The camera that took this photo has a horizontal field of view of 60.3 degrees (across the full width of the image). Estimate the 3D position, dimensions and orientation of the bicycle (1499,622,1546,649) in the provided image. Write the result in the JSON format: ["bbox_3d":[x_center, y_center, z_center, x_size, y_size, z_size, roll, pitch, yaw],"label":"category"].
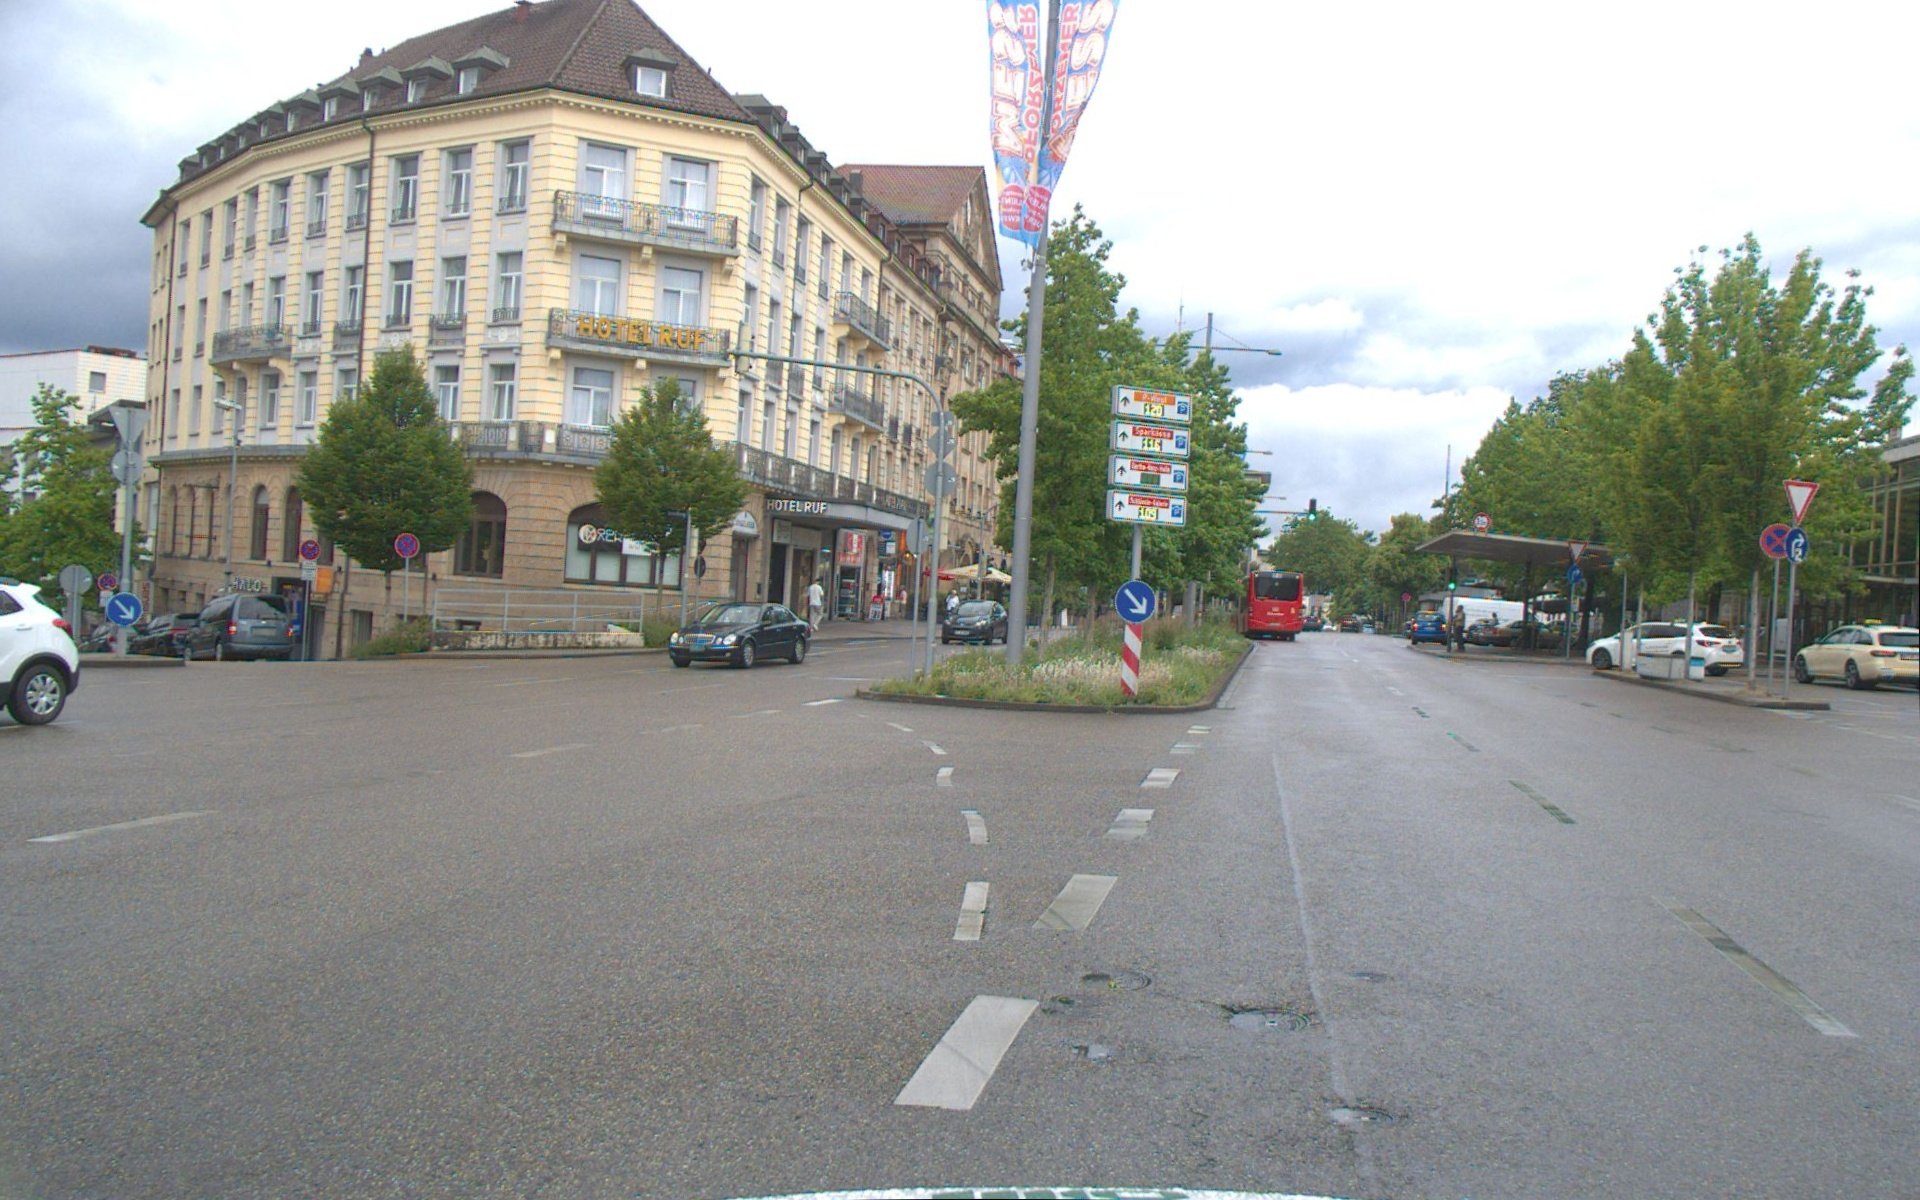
[{"bbox_3d":[23.052,1.450,67.760,1.792,1.074,0.420,1,-1,-7],"label":"bicycle"}]

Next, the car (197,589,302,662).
[{"bbox_3d":[-18.927,0.645,43.976,1.618,1.790,3.946,1,0,-38],"label":"car"}]

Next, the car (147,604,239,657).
[{"bbox_3d":[-22.775,0.883,49.065,1.618,1.422,3.946,1,0,-38],"label":"car"}]

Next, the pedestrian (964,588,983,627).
[{"bbox_3d":[0.601,0.341,71.921,0.667,1.693,0.807,1,-1,12],"label":"pedestrian"}]

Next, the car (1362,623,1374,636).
[{"bbox_3d":[58.079,4.202,235.454,1.609,1.690,3.653,1,-1,12],"label":"car"}]

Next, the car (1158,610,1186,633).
[{"bbox_3d":[19.321,1.960,150.546,1.951,2.049,5.005,1,-1,13],"label":"car"}]

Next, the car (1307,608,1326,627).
[{"bbox_3d":[39.542,1.983,183.535,1.951,2.049,4.003,1,-1,12],"label":"car"}]

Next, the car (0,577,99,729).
[{"bbox_3d":[-11.541,0.553,17.446,1.914,1.646,4.210,1,-1,18],"label":"car"}]

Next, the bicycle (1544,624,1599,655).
[{"bbox_3d":[21.760,1.393,58.871,1.788,1.074,0.421,1,-1,11],"label":"bicycle"}]

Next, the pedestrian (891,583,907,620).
[{"bbox_3d":[-2.794,0.063,75.895,0.652,1.693,0.537,1,-1,3],"label":"pedestrian"}]

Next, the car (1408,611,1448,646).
[{"bbox_3d":[23.038,1.421,81.525,1.819,1.596,4.002,2,-1,15],"label":"car"}]

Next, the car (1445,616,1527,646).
[{"bbox_3d":[29.171,1.718,91.786,3.920,1.468,1.857,2,-1,-15],"label":"car"}]

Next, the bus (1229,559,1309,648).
[{"bbox_3d":[15.067,0.239,81.429,3.469,4.049,11.180,1,-1,9],"label":"bus"}]

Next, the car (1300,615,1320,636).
[{"bbox_3d":[35.613,2.625,168.524,1.951,2.049,4.003,1,-1,12],"label":"car"}]

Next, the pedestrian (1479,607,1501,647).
[{"bbox_3d":[25.318,1.297,79.039,0.838,1.867,1.191,1,-1,11],"label":"pedestrian"}]

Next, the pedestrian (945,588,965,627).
[{"bbox_3d":[-0.232,0.330,72.081,0.667,1.693,0.807,1,-1,15],"label":"pedestrian"}]

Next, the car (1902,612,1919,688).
[{"bbox_3d":[21.254,1.114,33.729,1.951,1.627,4.962,2,0,10],"label":"car"}]

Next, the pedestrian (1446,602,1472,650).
[{"bbox_3d":[19.152,0.995,63.467,0.730,1.777,0.836,2,-1,3],"label":"pedestrian"}]

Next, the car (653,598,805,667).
[{"bbox_3d":[-5.164,0.726,37.553,1.914,1.447,4.002,1,-1,16],"label":"car"}]

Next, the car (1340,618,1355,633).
[{"bbox_3d":[42.841,2.855,182.988,1.561,1.588,3.653,1,-1,12],"label":"car"}]

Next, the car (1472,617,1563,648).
[{"bbox_3d":[27.348,1.582,81.181,3.926,1.383,1.855,2,-1,-19],"label":"car"}]

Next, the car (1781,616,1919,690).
[{"bbox_3d":[21.971,1.242,40.081,1.952,1.627,4.960,1,0,4],"label":"car"}]

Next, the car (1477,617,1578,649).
[{"bbox_3d":[26.599,1.537,77.589,4.107,1.348,1.837,2,-1,-8],"label":"car"}]

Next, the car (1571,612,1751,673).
[{"bbox_3d":[19.943,1.194,47.258,1.737,1.573,4.734,2,-1,-27],"label":"car"}]

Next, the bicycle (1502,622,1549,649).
[{"bbox_3d":[23.002,1.448,67.290,1.792,1.074,0.420,1,-1,-7],"label":"bicycle"}]

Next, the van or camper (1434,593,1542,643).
[{"bbox_3d":[31.139,1.071,97.573,5.848,2.811,2.189,1,-1,-16],"label":"van or camper"}]

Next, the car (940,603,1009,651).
[{"bbox_3d":[0.524,0.909,56.031,1.641,1.539,3.866,1,-1,11],"label":"car"}]

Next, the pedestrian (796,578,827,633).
[{"bbox_3d":[-5.129,0.193,57.078,0.860,1.844,0.751,1,-1,11],"label":"pedestrian"}]

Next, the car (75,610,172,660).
[{"bbox_3d":[-26.659,1.106,52.640,1.755,1.504,3.938,1,-1,-42],"label":"car"}]
